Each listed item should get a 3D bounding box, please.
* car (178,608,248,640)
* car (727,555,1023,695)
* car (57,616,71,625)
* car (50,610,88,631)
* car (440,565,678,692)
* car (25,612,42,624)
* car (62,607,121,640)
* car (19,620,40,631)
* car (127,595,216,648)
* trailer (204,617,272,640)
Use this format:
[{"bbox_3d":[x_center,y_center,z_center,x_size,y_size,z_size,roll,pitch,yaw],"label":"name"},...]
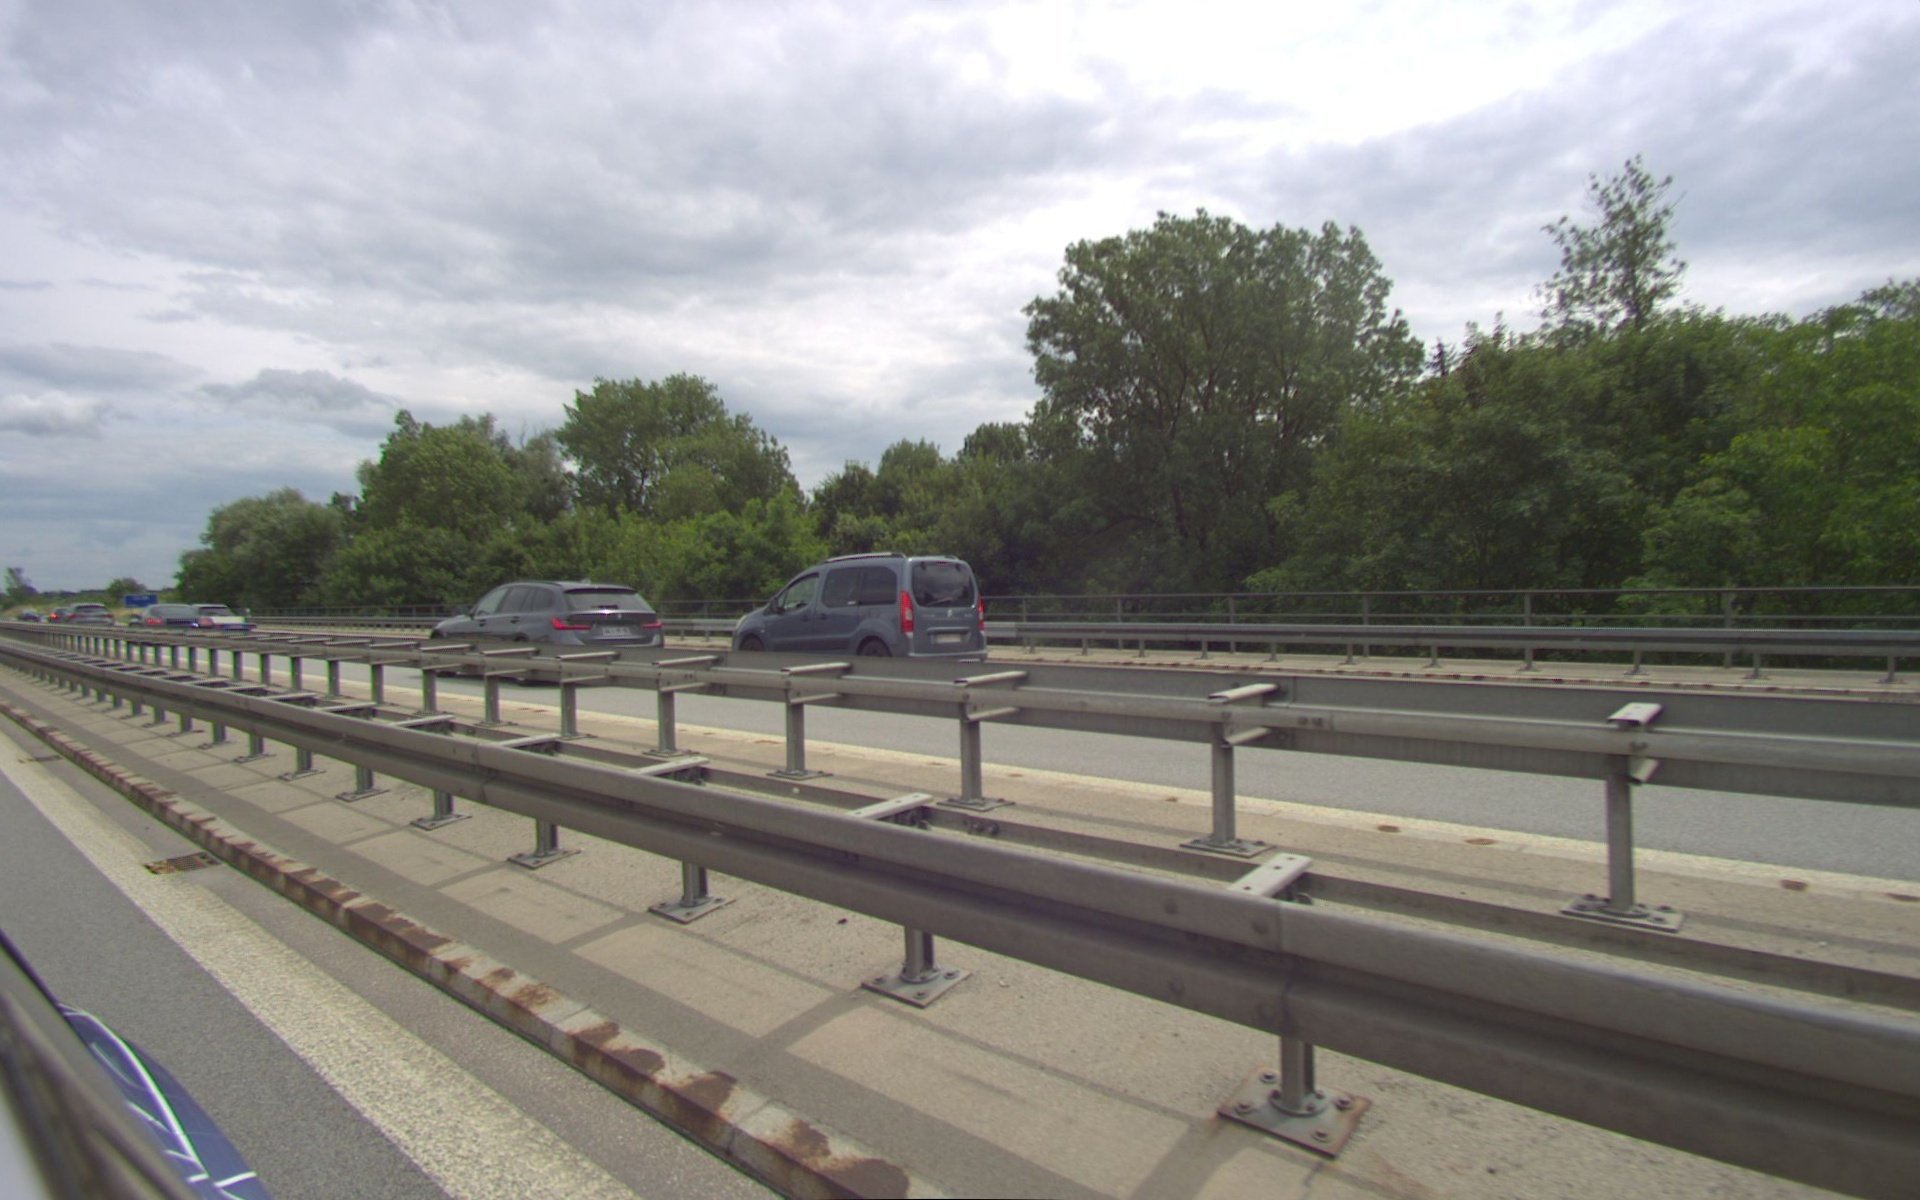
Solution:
[{"bbox_3d":[-35.455,1.111,47.974,4.941,1.420,1.719,-1,0,42],"label":"car"},{"bbox_3d":[-1.345,0.321,14.906,4.223,1.758,1.973,-1,0,42],"label":"car"},{"bbox_3d":[-157.009,3.627,177.268,1.708,1.571,4.336,-1,-1,-43],"label":"car"},{"bbox_3d":[-61.534,1.391,69.870,4.149,1.377,1.633,-2,-1,44],"label":"car"},{"bbox_3d":[-5.799,0.381,14.420,4.000,1.561,1.626,-1,-1,43],"label":"car"},{"bbox_3d":[-156.741,2.988,171.177,4.716,1.925,1.752,-2,1,44],"label":"car"},{"bbox_3d":[-40.947,1.073,47.694,4.110,1.447,1.673,-1,0,43],"label":"car"},{"bbox_3d":[-115.127,3.136,125.170,4.359,1.386,1.667,-1,0,44],"label":"car"},{"bbox_3d":[-24.773,0.670,31.753,4.000,1.561,1.626,-1,-1,43],"label":"car"},{"bbox_3d":[-32.114,1.253,44.960,3.999,0.959,1.651,-1,0,42],"label":"trailer"}]
